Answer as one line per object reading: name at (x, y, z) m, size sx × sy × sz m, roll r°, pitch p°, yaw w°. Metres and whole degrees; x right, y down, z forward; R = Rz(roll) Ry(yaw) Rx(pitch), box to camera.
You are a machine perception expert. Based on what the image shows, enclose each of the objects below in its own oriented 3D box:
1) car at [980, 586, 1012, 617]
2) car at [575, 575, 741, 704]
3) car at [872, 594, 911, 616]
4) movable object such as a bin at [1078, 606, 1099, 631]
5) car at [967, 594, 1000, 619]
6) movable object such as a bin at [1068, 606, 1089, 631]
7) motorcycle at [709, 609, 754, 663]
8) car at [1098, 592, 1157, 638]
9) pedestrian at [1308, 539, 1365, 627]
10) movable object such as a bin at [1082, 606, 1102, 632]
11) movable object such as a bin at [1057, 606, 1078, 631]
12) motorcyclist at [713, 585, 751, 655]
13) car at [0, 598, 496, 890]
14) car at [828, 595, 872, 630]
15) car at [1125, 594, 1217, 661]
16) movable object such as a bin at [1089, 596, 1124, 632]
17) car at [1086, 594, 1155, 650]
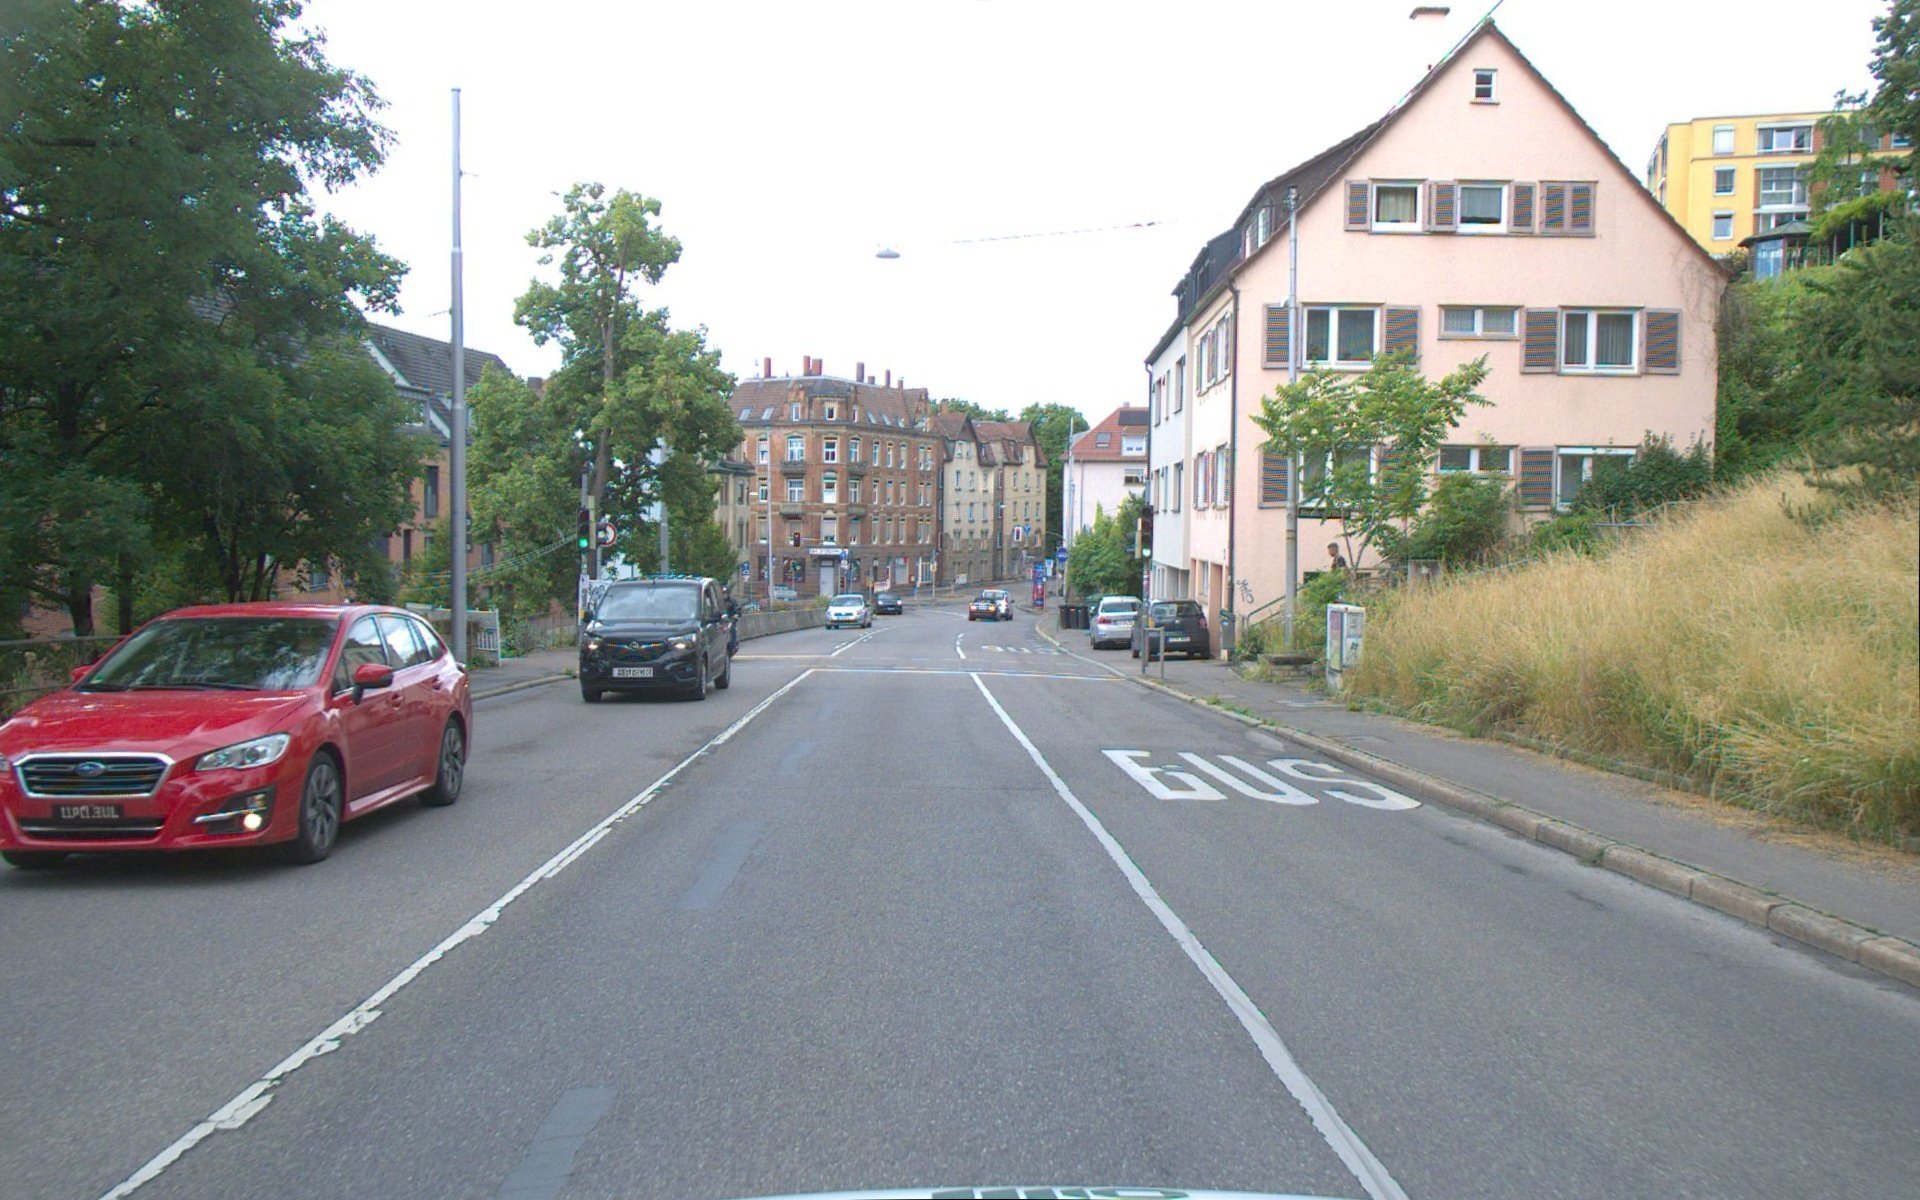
car at (2.357, 0.113, 108.076) m, size 1.869 × 1.917 × 4.002 m, roll 2°, pitch 0°, yaw 4°
car at (-4.490, 0.547, 25.181) m, size 1.747 × 1.776 × 4.428 m, roll -1°, pitch 0°, yaw -1°
car at (-5.045, 0.369, 122.894) m, size 1.939 × 1.602 × 4.379 m, roll -1°, pitch 0°, yaw 10°
movable object such as a bin at (5.453, 0.793, 70.231) m, size 0.730 × 1.077 × 0.676 m, roll 1°, pitch -1°, yaw -16°
car at (1.462, 0.377, 101.047) m, size 1.778 × 1.455 × 4.002 m, roll 2°, pitch 0°, yaw 4°
movable object such as a bin at (5.087, 0.788, 71.089) m, size 0.730 × 1.077 × 0.676 m, roll 1°, pitch -1°, yaw -16°
motorcycle at (-5.130, 0.797, 37.206) m, size 0.769 × 1.165 × 2.056 m, roll -1°, pitch 0°, yaw -1°
car at (5.558, 0.489, 55.309) m, size 1.757 × 1.448 × 4.006 m, roll -1°, pitch 0°, yaw 3°
pedestrian at (7.673, -0.339, 33.765) m, size 0.869 × 1.725 × 0.872 m, roll 2°, pitch -1°, yaw -4°
movable object such as a bin at (5.568, 0.788, 69.530) m, size 0.698 × 1.077 × 0.545 m, roll 1°, pitch -1°, yaw -16°
movable object such as a bin at (4.658, 0.789, 71.753) m, size 0.730 × 1.077 × 0.676 m, roll 1°, pitch -1°, yaw -16°
motorcyclist at (-5.133, 0.448, 37.231) m, size 0.769 × 1.542 × 0.668 m, roll -1°, pitch 0°, yaw -2°
car at (-4.473, 0.743, 10.730) m, size 1.747 × 1.485 × 4.427 m, roll -1°, pitch 0°, yaw -1°
car at (-4.806, 0.521, 72.744) m, size 1.685 × 1.470 × 4.158 m, roll -1°, pitch 0°, yaw -1°
car at (5.152, 0.658, 40.902) m, size 1.647 × 1.476 × 3.999 m, roll -3°, pitch 0°, yaw -1°
movable object such as a bin at (6.046, 0.586, 68.262) m, size 1.030 × 1.470 × 1.412 m, roll 1°, pitch -1°, yaw -16°
car at (4.775, 0.613, 49.813) m, size 1.757 × 1.476 × 4.720 m, roll -3°, pitch 1°, yaw 3°
